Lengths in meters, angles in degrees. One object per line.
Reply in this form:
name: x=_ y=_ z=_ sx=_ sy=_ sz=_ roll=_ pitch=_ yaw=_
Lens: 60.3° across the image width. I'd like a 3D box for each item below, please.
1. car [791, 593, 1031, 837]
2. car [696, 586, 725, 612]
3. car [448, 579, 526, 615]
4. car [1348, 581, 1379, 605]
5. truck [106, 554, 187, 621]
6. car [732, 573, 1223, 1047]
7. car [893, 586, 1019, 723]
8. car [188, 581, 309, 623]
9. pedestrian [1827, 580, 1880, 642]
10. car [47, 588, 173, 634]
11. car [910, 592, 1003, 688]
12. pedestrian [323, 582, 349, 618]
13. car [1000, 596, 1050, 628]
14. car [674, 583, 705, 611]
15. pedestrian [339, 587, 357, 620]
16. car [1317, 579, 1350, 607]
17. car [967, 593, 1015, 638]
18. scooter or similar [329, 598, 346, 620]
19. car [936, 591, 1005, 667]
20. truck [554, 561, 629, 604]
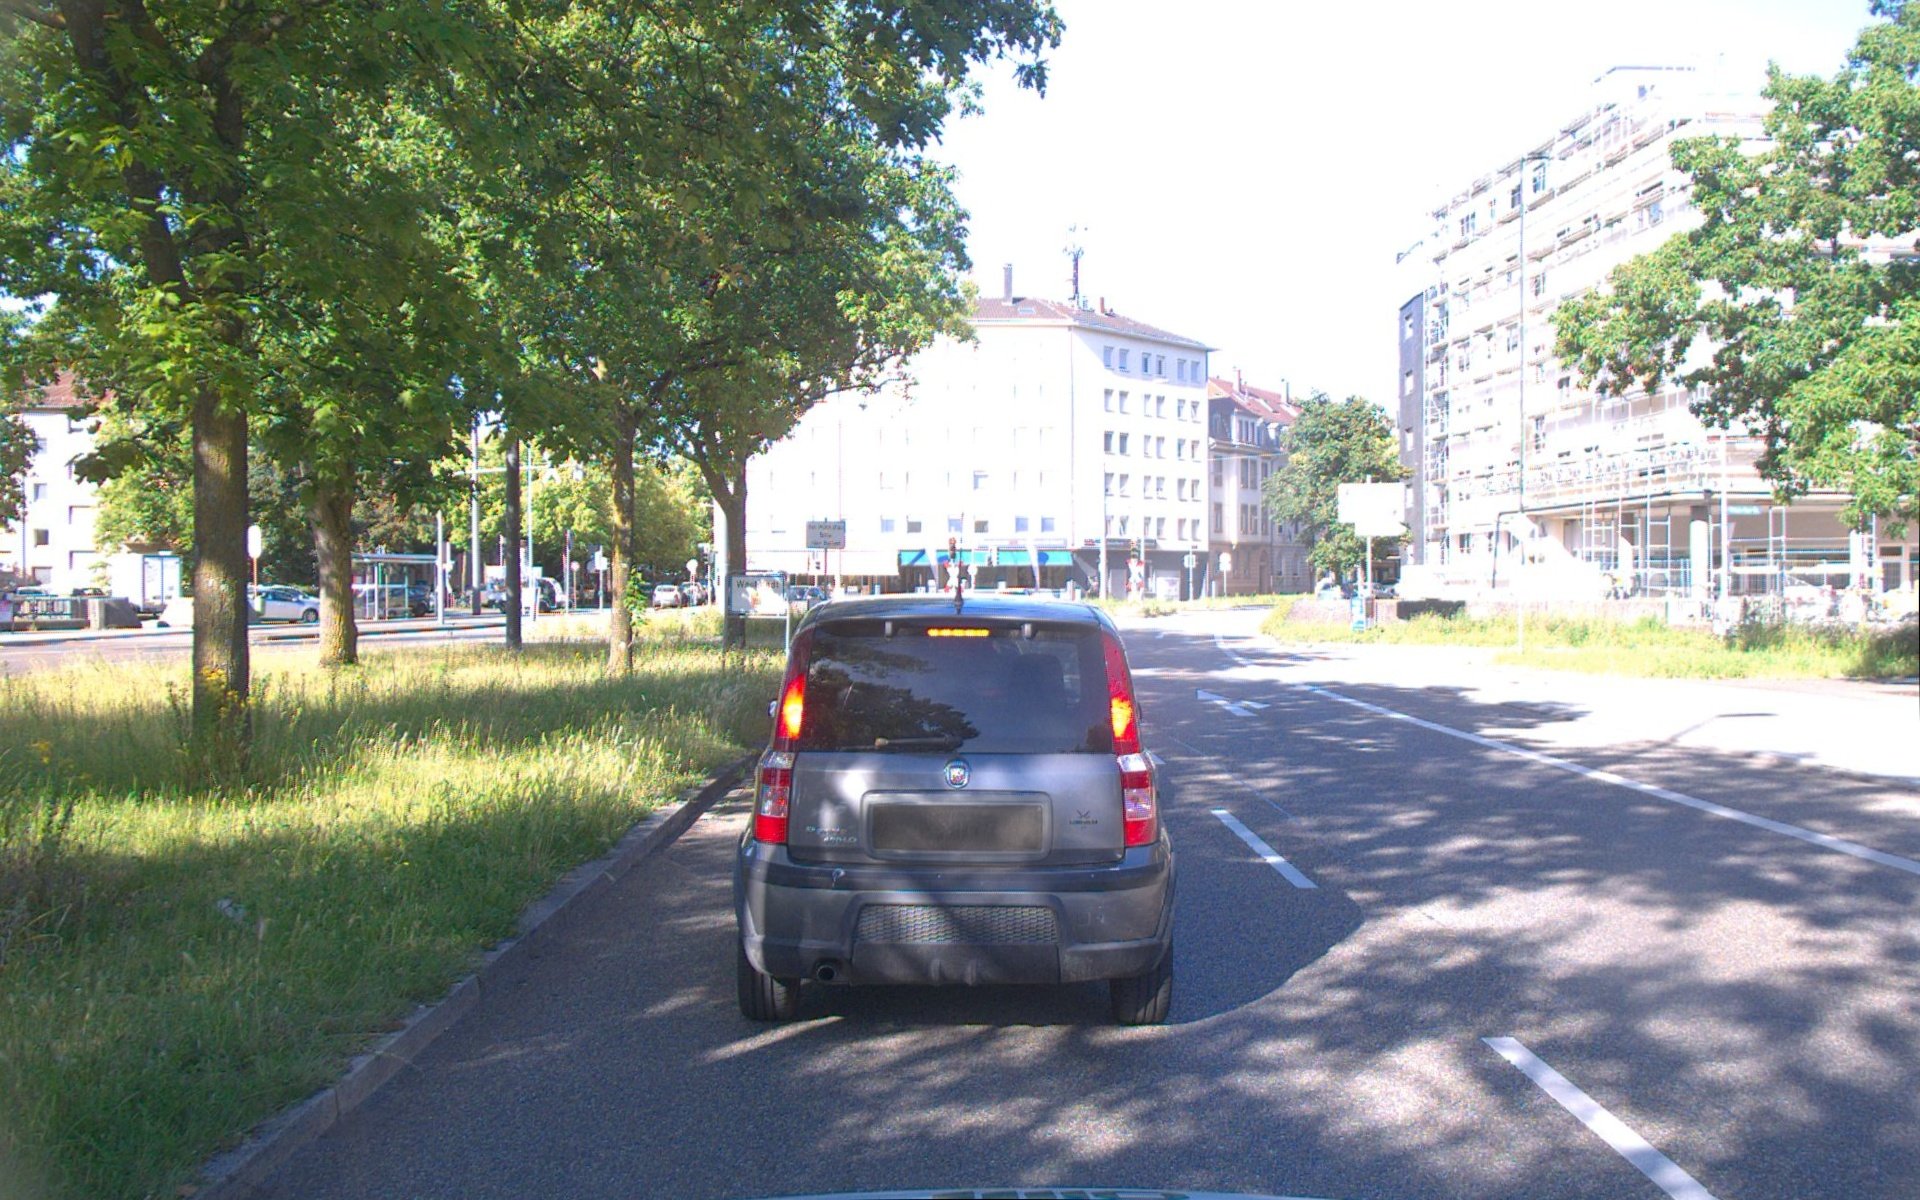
car: x=-0.319 y=0.682 z=11.622 sx=1.434 sy=1.425 sz=3.393 roll=0 pitch=1 yaw=-1
car: x=-20.046 y=-0.112 z=132.996 sx=1.954 sy=2.049 sz=3.996 roll=0 pitch=1 yaw=-5
car: x=-27.939 y=-0.183 z=97.828 sx=4.093 sy=2.049 sz=1.930 roll=0 pitch=0 yaw=-3
car: x=23.004 y=-0.398 z=94.238 sx=1.495 sy=1.337 sz=3.289 roll=0 pitch=1 yaw=17
truck: x=-35.748 y=-0.550 z=72.680 sx=3.932 sy=2.854 sz=1.987 roll=0 pitch=1 yaw=44
car: x=0.031 y=0.661 z=7.406 sx=1.595 sy=1.534 sz=3.999 roll=0 pitch=1 yaw=-1
car: x=-0.073 y=0.605 z=20.666 sx=1.434 sy=1.534 sz=3.504 roll=0 pitch=1 yaw=-1
car: x=-29.959 y=0.051 z=69.775 sx=1.961 sy=1.713 sz=4.302 roll=0 pitch=1 yaw=38
pedestrian: x=24.603 y=0.302 z=45.534 sx=0.879 sy=1.682 sz=0.977 roll=-1 pitch=0 yaw=-30
car: x=-33.579 y=0.418 z=65.395 sx=1.961 sy=1.713 sz=3.983 roll=0 pitch=1 yaw=38
car: x=-0.081 y=0.610 z=27.240 sx=1.434 sy=1.449 sz=3.381 roll=0 pitch=1 yaw=-1
pedestrian: x=-29.167 y=-0.002 z=77.307 sx=0.904 sy=1.636 sz=0.794 roll=0 pitch=0 yaw=38
car: x=2.281 y=0.401 z=57.696 sx=1.118 sy=1.083 sz=2.723 roll=0 pitch=1 yaw=17
car: x=-20.161 y=-0.267 z=123.276 sx=1.954 sy=2.049 sz=3.996 roll=0 pitch=1 yaw=-5
pedestrian: x=-26.431 y=0.151 z=71.421 sx=0.407 sy=1.415 sz=0.626 roll=0 pitch=0 yaw=26
car: x=20.499 y=-0.395 z=90.708 sx=1.646 sy=1.475 sz=3.574 roll=0 pitch=1 yaw=15
car: x=0.915 y=0.443 z=49.600 sx=1.328 sy=1.304 sz=2.875 roll=0 pitch=1 yaw=-1
scooter or similar: x=-26.687 y=0.371 z=70.892 sx=0.411 sy=0.943 sz=0.534 roll=0 pitch=0 yaw=25
car: x=0.176 y=0.556 z=33.854 sx=1.328 sy=1.475 sz=3.265 roll=0 pitch=0 yaw=-1
truck: x=-28.367 y=-1.354 z=127.359 sx=5.371 sy=3.224 sz=2.341 roll=0 pitch=0 yaw=28
